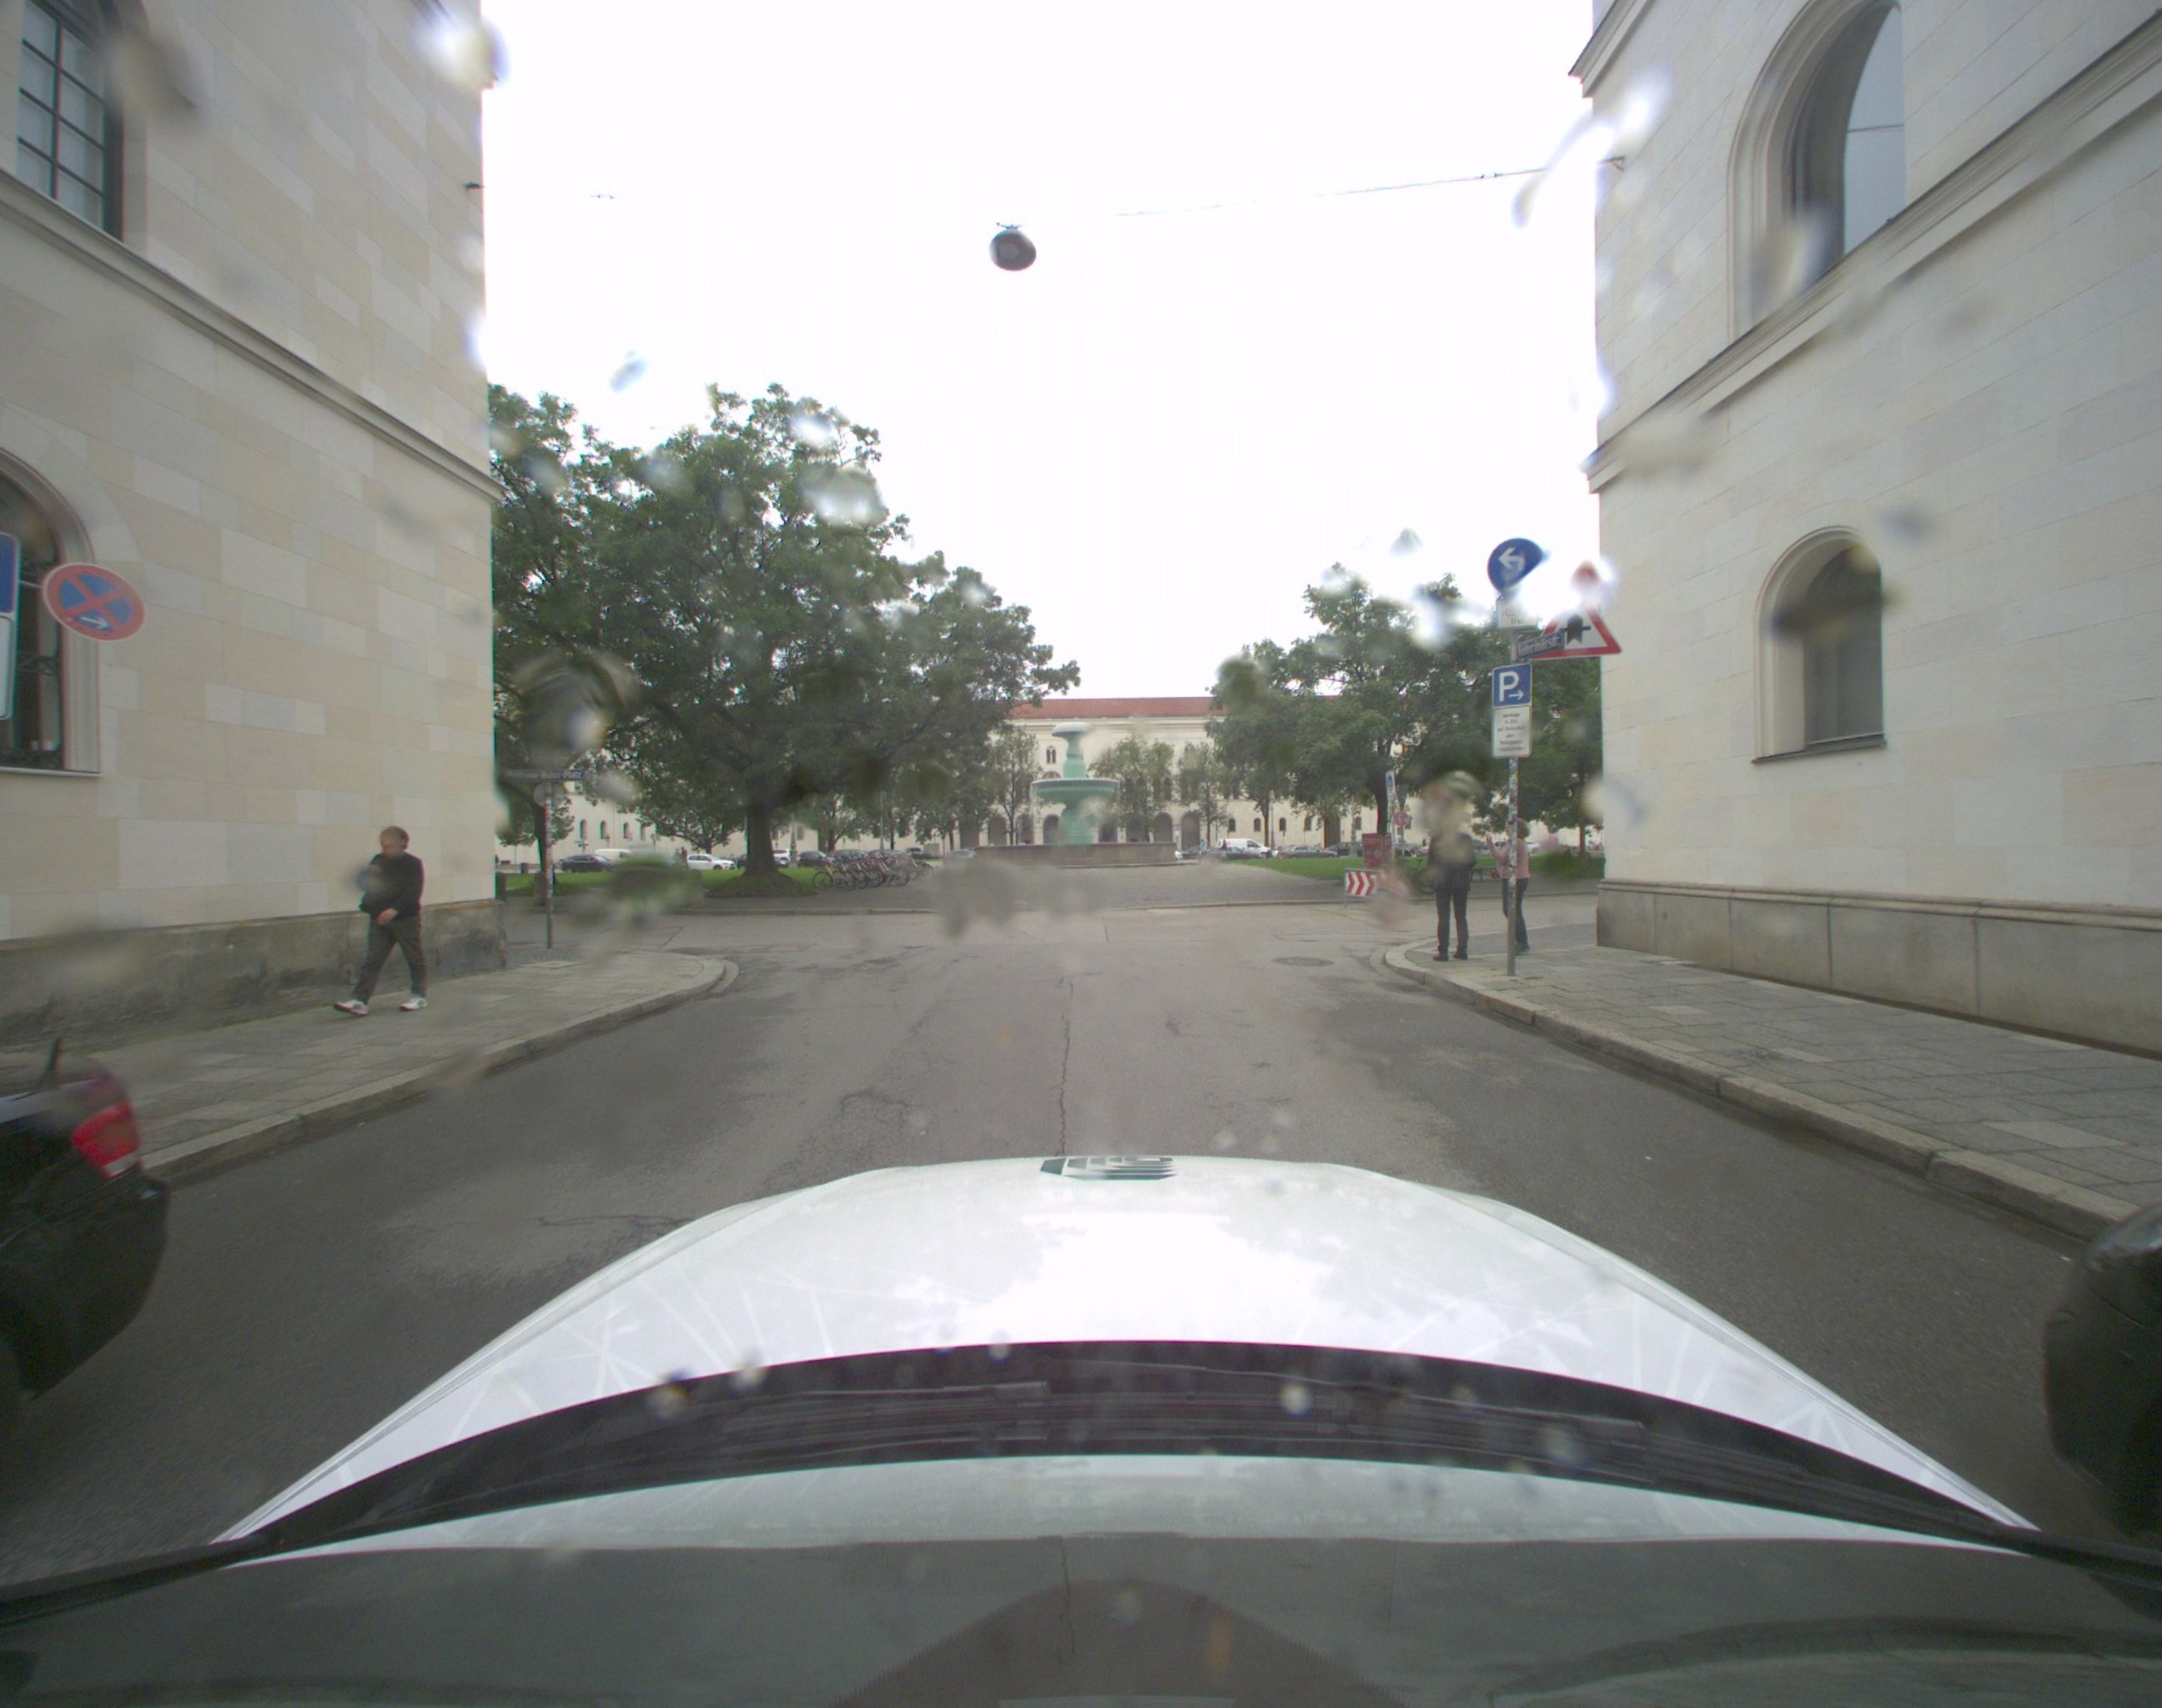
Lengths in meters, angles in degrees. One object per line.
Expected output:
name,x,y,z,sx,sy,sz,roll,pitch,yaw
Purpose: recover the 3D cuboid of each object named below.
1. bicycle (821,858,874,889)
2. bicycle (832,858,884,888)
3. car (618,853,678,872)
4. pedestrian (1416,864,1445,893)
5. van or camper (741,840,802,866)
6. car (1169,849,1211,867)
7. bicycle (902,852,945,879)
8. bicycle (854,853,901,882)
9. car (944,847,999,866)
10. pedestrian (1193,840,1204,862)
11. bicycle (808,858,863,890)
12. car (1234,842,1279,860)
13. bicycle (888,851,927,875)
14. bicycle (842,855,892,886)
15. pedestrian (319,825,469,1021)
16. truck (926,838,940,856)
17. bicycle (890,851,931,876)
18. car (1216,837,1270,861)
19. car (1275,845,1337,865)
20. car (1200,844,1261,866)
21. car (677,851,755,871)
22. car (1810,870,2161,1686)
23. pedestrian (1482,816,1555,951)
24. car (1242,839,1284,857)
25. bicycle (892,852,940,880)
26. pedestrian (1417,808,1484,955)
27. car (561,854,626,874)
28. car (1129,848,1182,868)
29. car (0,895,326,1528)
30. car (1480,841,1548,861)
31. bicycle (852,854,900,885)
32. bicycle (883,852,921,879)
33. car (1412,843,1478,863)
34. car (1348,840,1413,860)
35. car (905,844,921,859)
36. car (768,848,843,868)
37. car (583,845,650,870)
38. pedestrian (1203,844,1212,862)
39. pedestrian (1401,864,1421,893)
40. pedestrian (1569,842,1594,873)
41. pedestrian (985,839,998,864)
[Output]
bicycle,-8.121,0.662,28.357,1.608,1.035,0.700,0,1,11
bicycle,-7.963,0.665,29.110,1.608,1.035,0.700,0,1,11
car,-33.074,0.630,62.206,3.661,1.376,1.602,-1,1,-2
pedestrian,9.530,0.656,22.231,0.566,0.762,0.567,0,1,4
van or camper,-27.798,-0.078,73.320,4.569,2.013,1.998,-4,-1,-3
car,10.813,0.423,81.134,3.975,1.749,1.807,0,1,-1
bicycle,-6.391,0.471,33.097,1.608,1.098,0.618,0,1,11
bicycle,-7.863,0.511,31.538,1.608,1.098,0.700,0,1,11
car,-8.401,0.172,62.699,3.976,1.376,1.999,-1,1,-2
pedestrian,8.044,-0.218,55.820,0.577,1.465,0.551,-1,1,23
bicycle,-8.313,0.664,27.599,1.608,1.035,0.700,0,1,11
car,17.442,-0.320,81.119,4.089,1.741,1.744,0,1,-4
bicycle,-7.658,0.392,35.909,1.526,1.019,0.700,0,1,11
bicycle,-7.837,0.610,29.856,1.608,1.098,0.700,0,1,11
pedestrian,-6.465,0.620,7.703,0.752,1.749,0.689,-2,1,-2
truck,-21.265,-1.021,117.037,1.994,2.488,3.985,0,1,-11
bicycle,-7.315,0.408,34.983,1.526,1.019,0.700,0,1,11
car,13.990,-0.471,70.472,4.308,2.013,1.826,0,1,3
car,17.369,0.039,63.023,4.341,1.418,1.804,-1,1,1
car,11.490,0.070,62.692,4.341,1.524,1.804,-1,1,1
car,-27.909,0.513,62.385,4.954,1.376,1.999,-1,1,-2
car,2.666,0.763,0.256,1.535,1.426,3.772,-1,0,1
pedestrian,5.578,0.363,10.398,0.619,1.681,0.544,0,0,-6
car,19.092,-0.654,85.380,3.977,1.783,1.930,0,1,-2
bicycle,-6.570,0.468,32.422,1.699,1.098,0.700,0,1,11
pedestrian,4.669,0.335,10.312,0.638,1.808,0.490,-1,0,5
car,-37.076,0.755,62.040,3.895,1.376,1.602,-1,1,-2
car,5.743,0.320,62.970,3.971,1.402,1.826,-2,1,2
car,-3.327,0.863,0.518,1.693,1.392,4.211,-2,0,0
car,33.705,-0.253,63.508,4.341,1.418,1.804,-1,1,1
bicycle,-7.689,0.577,30.578,1.608,1.098,0.700,0,1,11
bicycle,-7.498,0.464,34.071,1.392,1.098,0.659,0,1,11
car,28.223,-0.072,63.196,4.341,1.418,1.804,-1,1,1
car,23.014,-0.327,62.705,4.341,1.418,1.804,-1,1,1
car,-23.770,-0.321,114.897,2.134,2.013,4.173,-1,1,-13
car,-21.180,0.301,62.726,5.059,1.376,1.999,-1,1,-2
car,-39.977,0.293,70.134,4.520,2.013,2.001,-1,1,1
pedestrian,8.648,-0.068,55.740,0.439,1.214,0.538,-1,1,26
pedestrian,9.019,0.659,22.263,0.412,0.762,0.461,0,1,4
pedestrian,17.570,0.104,28.586,0.528,1.065,0.619,0,1,4
pedestrian,-5.823,-0.170,53.107,0.748,1.639,0.710,-1,1,-1
